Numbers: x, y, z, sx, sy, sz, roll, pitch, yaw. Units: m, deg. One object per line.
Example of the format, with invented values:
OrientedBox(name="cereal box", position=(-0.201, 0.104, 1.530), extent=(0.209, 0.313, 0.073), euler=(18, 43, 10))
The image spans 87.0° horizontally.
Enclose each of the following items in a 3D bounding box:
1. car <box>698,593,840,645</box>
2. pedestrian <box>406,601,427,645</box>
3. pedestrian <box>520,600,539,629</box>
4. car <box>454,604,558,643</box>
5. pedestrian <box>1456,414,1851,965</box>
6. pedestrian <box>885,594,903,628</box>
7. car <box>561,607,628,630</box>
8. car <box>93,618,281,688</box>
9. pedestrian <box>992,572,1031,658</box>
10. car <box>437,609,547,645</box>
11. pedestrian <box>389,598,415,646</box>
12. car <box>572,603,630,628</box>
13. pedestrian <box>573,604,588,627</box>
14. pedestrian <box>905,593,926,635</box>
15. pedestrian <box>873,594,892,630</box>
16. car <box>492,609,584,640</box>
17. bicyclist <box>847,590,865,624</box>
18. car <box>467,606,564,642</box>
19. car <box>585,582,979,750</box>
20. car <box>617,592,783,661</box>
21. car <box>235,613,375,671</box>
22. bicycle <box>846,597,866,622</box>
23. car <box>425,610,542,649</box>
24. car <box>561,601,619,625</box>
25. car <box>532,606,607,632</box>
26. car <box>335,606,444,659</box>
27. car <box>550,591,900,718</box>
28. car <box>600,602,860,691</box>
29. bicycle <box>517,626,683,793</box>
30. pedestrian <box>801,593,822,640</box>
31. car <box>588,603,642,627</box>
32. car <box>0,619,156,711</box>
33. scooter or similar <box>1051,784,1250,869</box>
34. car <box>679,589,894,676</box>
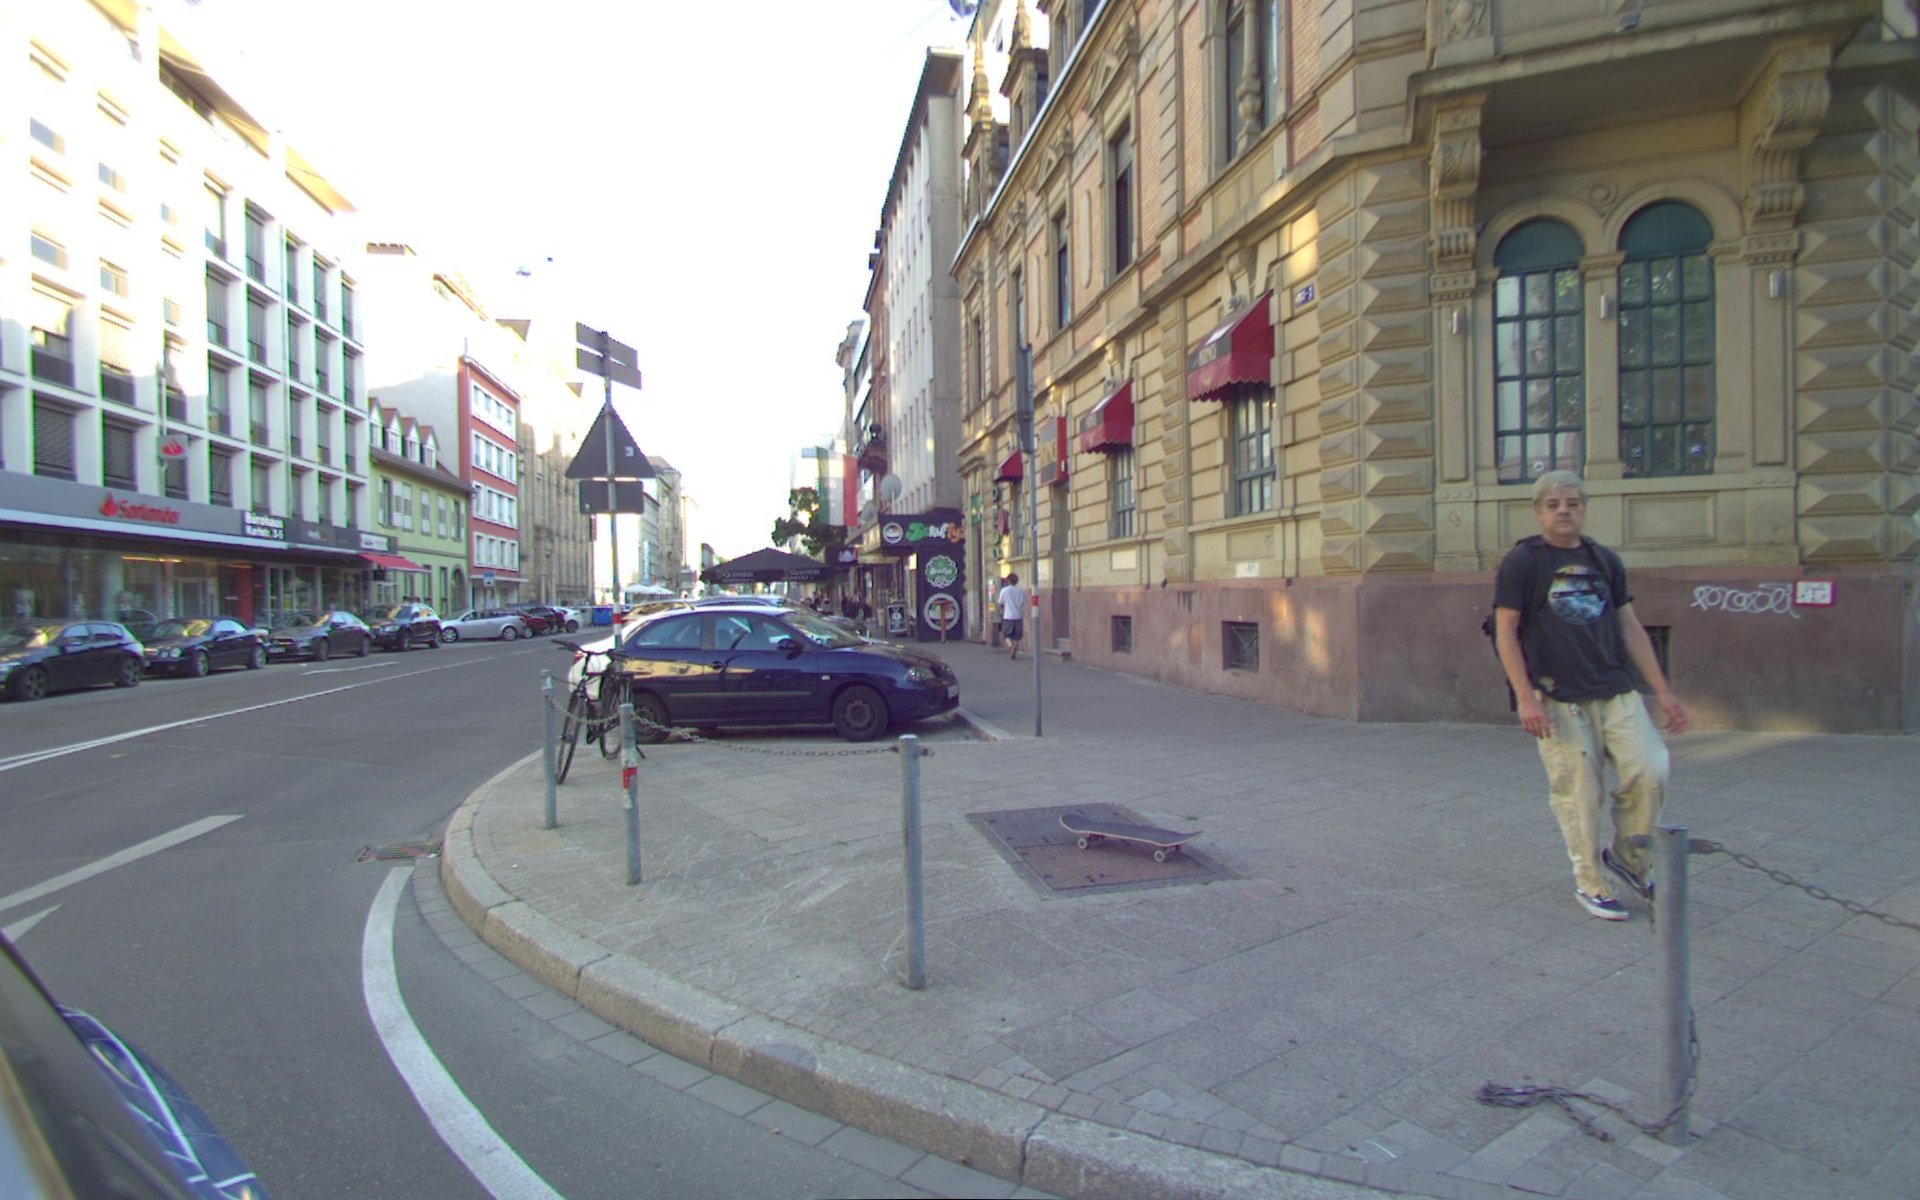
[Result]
OrientedBox(name="car", position=(-6.980, 0.681, 37.045), extent=(4.801, 1.746, 1.897), euler=(-2, 0, 18))
OrientedBox(name="pedestrian", position=(-24.164, 1.016, 44.976), extent=(0.603, 1.901, 0.721), euler=(-2, 0, -11))
OrientedBox(name="pedestrian", position=(-29.304, 0.981, 68.895), extent=(0.837, 1.958, 1.014), euler=(-2, 0, -5))
OrientedBox(name="car", position=(-21.703, 1.101, 48.443), extent=(4.165, 1.689, 1.756), euler=(-2, 0, -44))
OrientedBox(name="pedestrian", position=(2.557, 0.278, 3.931), extent=(0.843, 1.752, 1.261), euler=(-2, 2, 15))
OrientedBox(name="pedestrian", position=(-2.494, 0.423, 38.197), extent=(0.567, 1.254, 0.677), euler=(-1, 0, -10))
OrientedBox(name="car", position=(-26.174, 1.306, 72.555), extent=(4.158, 1.484, 1.759), euler=(-2, 0, -35))
OrientedBox(name="car", position=(-18.266, 1.184, 24.202), extent=(1.719, 1.398, 4.511), euler=(-2, 0, -11))
OrientedBox(name="pedestrian", position=(0.992, 0.282, 19.570), extent=(0.569, 1.621, 0.522), euler=(-3, 0, -9))
OrientedBox(name="car", position=(-21.154, 1.205, 45.809), extent=(4.165, 1.450, 1.756), euler=(-2, 0, -44))
OrientedBox(name="pedestrian", position=(-24.771, 0.960, 44.942), extent=(0.751, 2.083, 0.721), euler=(-2, 0, -11))
OrientedBox(name="car", position=(-26.748, 1.140, 75.438), extent=(3.774, 1.766, 1.759), euler=(-2, 0, -35))
OrientedBox(name="pedestrian", position=(-30.382, 1.218, 80.954), extent=(0.837, 1.813, 1.014), euler=(-2, 0, -5))
OrientedBox(name="pedestrian", position=(-1.411, 0.449, 32.185), extent=(0.565, 1.318, 0.577), euler=(-2, 0, -9))
OrientedBox(name="pedestrian", position=(-2.817, 0.437, 36.709), extent=(0.567, 1.254, 0.677), euler=(-1, 0, -10))
OrientedBox(name="car", position=(-22.473, 1.275, 53.964), extent=(4.161, 1.484, 1.757), euler=(-2, 0, -40))
OrientedBox(name="bicyclist", position=(-4.983, 0.344, 48.409), extent=(0.755, 1.571, 0.815), euler=(-2, 1, -11))
OrientedBox(name="car", position=(-22.371, 1.166, 51.019), extent=(4.161, 1.629, 1.757), euler=(-2, 0, -40))
OrientedBox(name="car", position=(-1.887, 0.698, 11.109), extent=(3.827, 1.472, 1.733), euler=(-5, 0, 15))
OrientedBox(name="car", position=(-7.176, 0.726, 28.121), extent=(4.009, 1.641, 1.846), euler=(-3, 0, 12))
OrientedBox(name="car", position=(-19.083, 1.157, 29.735), extent=(1.720, 1.457, 4.567), euler=(-2, 0, -9))
OrientedBox(name="bicycle", position=(-4.965, 0.434, 48.255), extent=(0.755, 1.123, 2.183), euler=(-2, 1, -11))
OrientedBox(name="car", position=(-20.307, 1.215, 43.228), extent=(1.753, 1.450, 4.171), euler=(-2, 0, 41))
OrientedBox(name="car", position=(-30.931, 1.073, 84.650), extent=(4.158, 1.896, 1.759), euler=(-2, 0, -35))
OrientedBox(name="car", position=(-25.192, 1.225, 65.296), extent=(4.161, 1.484, 1.757), euler=(-2, 0, -40))
OrientedBox(name="car", position=(-19.785, 1.081, 35.307), extent=(1.804, 1.671, 4.370), euler=(-1, 0, -8))
OrientedBox(name="car", position=(-3.339, 0.775, 14.467), extent=(4.591, 1.523, 1.758), euler=(-3, 0, 18))
OrientedBox(name="car", position=(-4.046, 0.804, 17.934), extent=(4.213, 1.458, 1.702), euler=(-1, 0, 16))
OrientedBox(name="bicycle", position=(-2.941, 0.839, 8.479), extent=(0.718, 1.134, 1.804), euler=(-4, 1, -2))
OrientedBox(name="pedestrian", position=(-4.546, 0.499, 30.913), extent=(0.567, 1.427, 0.677), euler=(-1, 0, -10))
OrientedBox(name="car", position=(-27.786, 1.179, 81.523), extent=(3.774, 1.737, 1.759), euler=(-3, 0, -35))
OrientedBox(name="car", position=(-17.265, 1.154, 18.865), extent=(1.720, 1.458, 4.258), euler=(-2, 0, -10))
OrientedBox(name="scooter or similar", position=(0.921, 1.098, 4.987), extent=(0.882, 0.208, 0.412), euler=(-1, 2, 44))
OrientedBox(name="car", position=(-3.562, 0.668, 20.976), extent=(4.014, 1.669, 1.784), euler=(-1, 0, 16))
